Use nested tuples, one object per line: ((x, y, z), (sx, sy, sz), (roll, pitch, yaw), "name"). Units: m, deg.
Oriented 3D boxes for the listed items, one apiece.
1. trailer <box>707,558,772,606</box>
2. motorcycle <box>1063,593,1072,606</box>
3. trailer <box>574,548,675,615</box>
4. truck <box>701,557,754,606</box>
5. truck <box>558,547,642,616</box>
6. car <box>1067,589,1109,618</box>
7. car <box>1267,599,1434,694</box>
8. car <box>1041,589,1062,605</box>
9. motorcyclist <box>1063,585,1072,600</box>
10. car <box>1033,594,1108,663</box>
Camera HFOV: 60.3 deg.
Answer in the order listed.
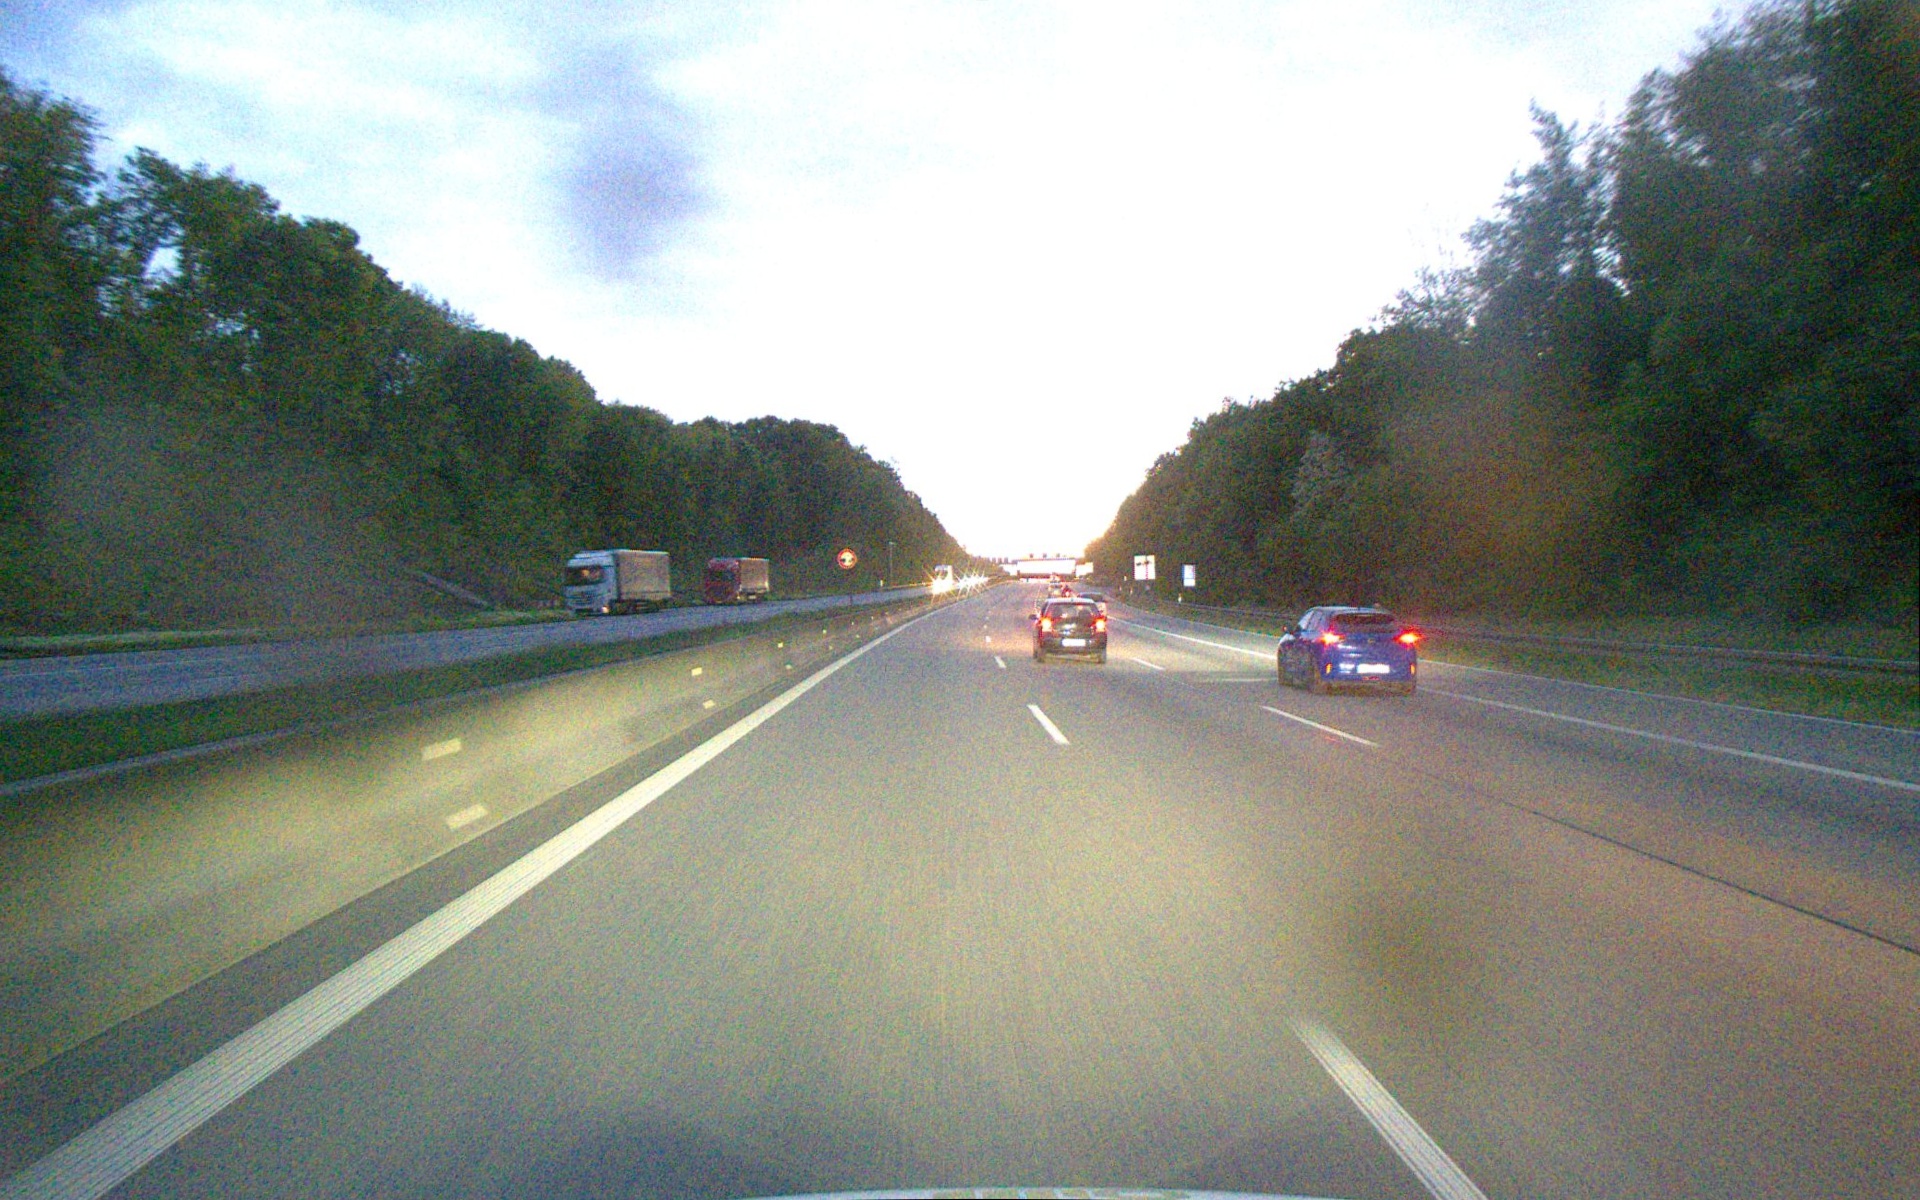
((-19.954, -1.594, 150.620), (3.124, 4.176, 14.191), (0, 0, 4), "trailer")
((9.750, -0.037, 149.982), (0.812, 1.154, 2.477), (-1, 0, 3), "motorcycle")
((-22.221, -1.205, 110.532), (3.124, 4.176, 13.746), (0, 0, 4), "trailer")
((-20.328, -1.634, 145.028), (3.124, 4.176, 7.693), (0, 0, 4), "truck")
((-22.620, -1.136, 104.235), (3.124, 4.176, 7.693), (0, 0, 4), "truck")
((6.788, 0.210, 88.248), (1.788, 1.501, 4.397), (1, 0, -1), "car")
((6.620, 0.737, 28.550), (1.827, 1.461, 4.584), (1, 0, 0), "car")
((9.635, -0.305, 174.133), (1.827, 1.520, 4.397), (1, 0, -1), "car")
((9.733, -0.671, 149.841), (0.812, 1.314, 1.190), (-1, 0, 3), "motorcyclist")
((2.581, 0.659, 39.288), (1.668, 1.536, 4.233), (1, 0, 2), "car")
